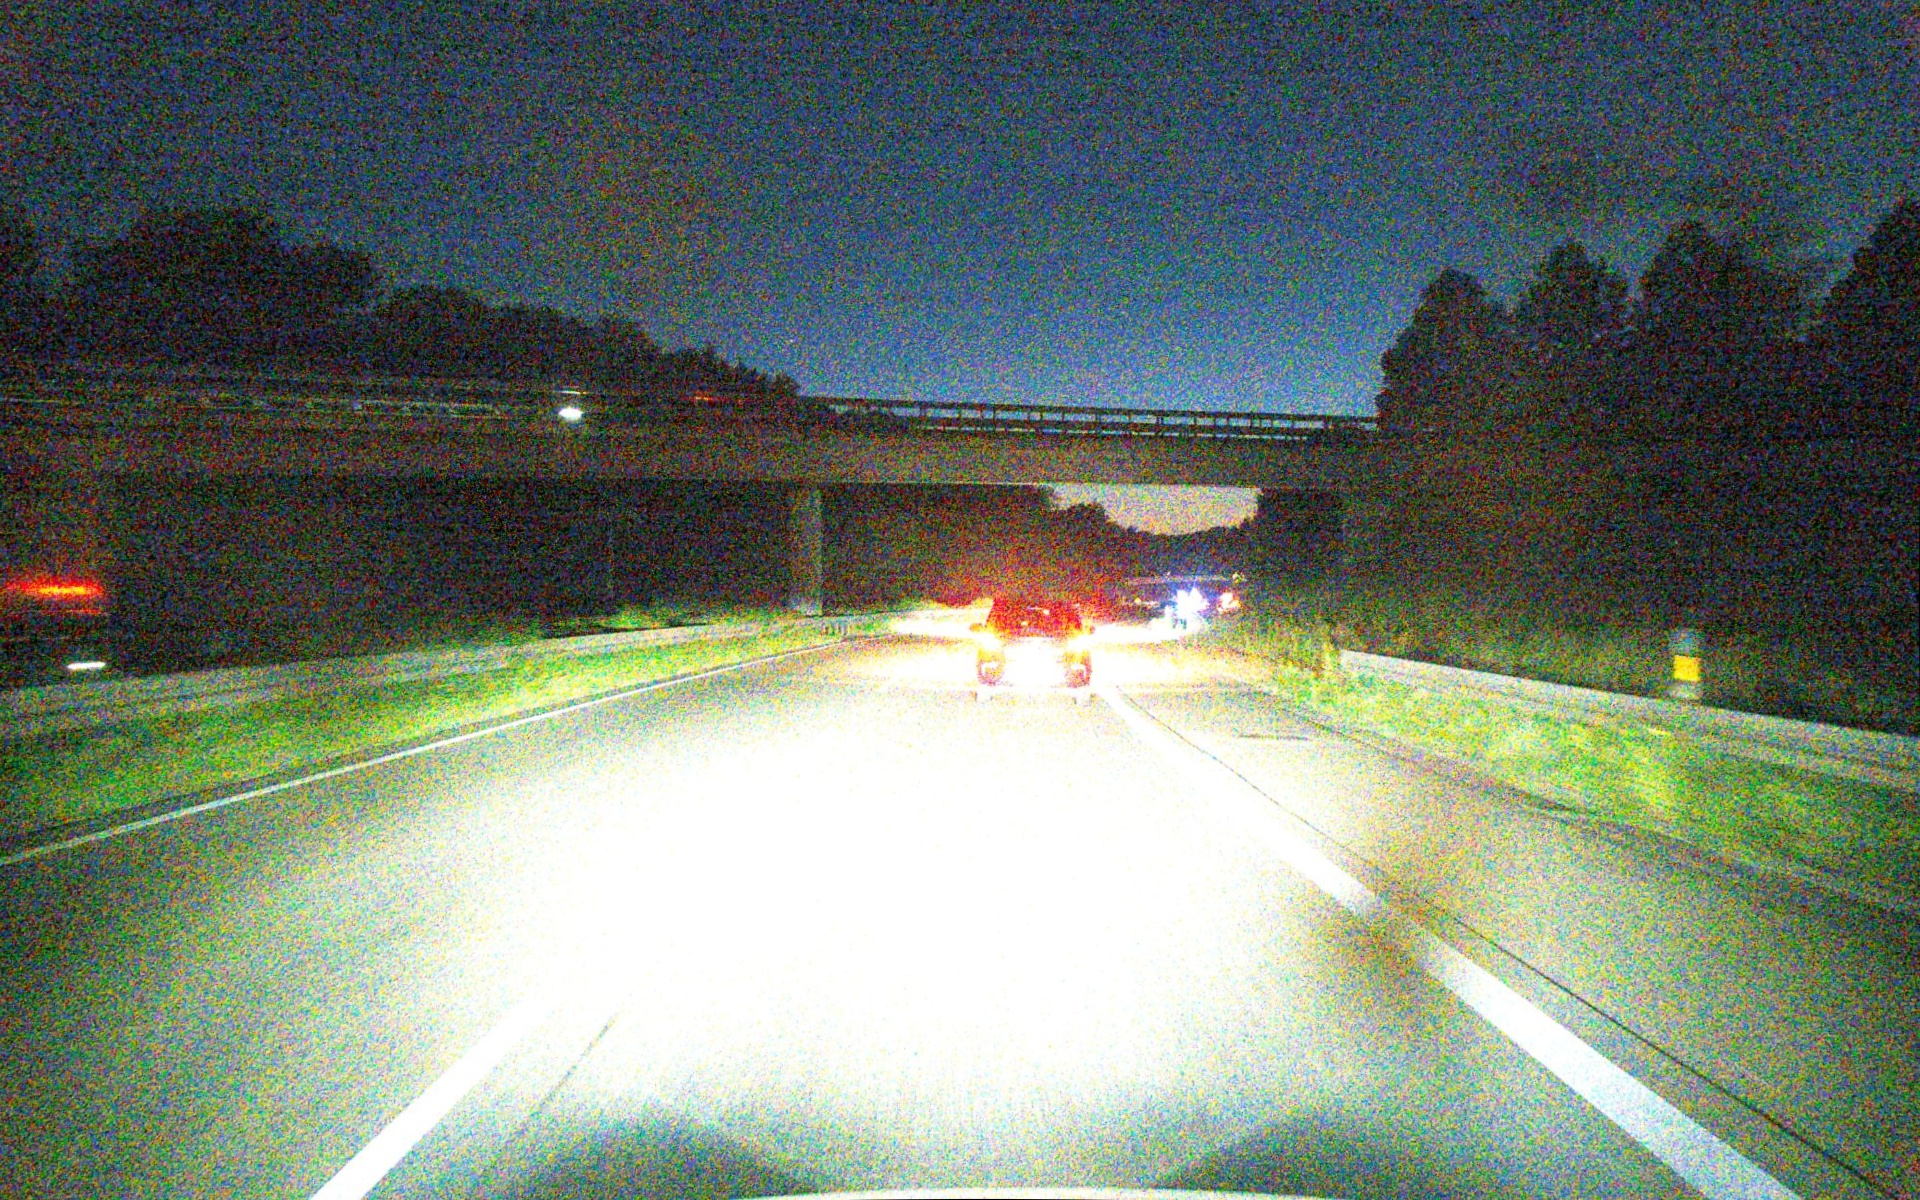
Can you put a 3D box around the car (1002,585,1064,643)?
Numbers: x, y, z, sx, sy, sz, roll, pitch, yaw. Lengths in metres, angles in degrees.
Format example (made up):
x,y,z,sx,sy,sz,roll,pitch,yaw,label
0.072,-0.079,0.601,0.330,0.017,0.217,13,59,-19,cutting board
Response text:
x,y,z,sx,sy,sz,roll,pitch,yaw,label
2.287,0.404,51.860,1.867,1.728,4.001,0,0,2,car

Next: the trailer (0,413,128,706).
x,y,z,sx,sy,sz,roll,pitch,yaw,label
-14.526,-0.542,21.592,2.661,4.025,9.048,0,0,1,trailer

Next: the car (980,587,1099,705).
x,y,z,sx,sy,sz,roll,pitch,yaw,label
1.124,0.613,24.195,1.555,1.534,4.001,2,0,2,car
